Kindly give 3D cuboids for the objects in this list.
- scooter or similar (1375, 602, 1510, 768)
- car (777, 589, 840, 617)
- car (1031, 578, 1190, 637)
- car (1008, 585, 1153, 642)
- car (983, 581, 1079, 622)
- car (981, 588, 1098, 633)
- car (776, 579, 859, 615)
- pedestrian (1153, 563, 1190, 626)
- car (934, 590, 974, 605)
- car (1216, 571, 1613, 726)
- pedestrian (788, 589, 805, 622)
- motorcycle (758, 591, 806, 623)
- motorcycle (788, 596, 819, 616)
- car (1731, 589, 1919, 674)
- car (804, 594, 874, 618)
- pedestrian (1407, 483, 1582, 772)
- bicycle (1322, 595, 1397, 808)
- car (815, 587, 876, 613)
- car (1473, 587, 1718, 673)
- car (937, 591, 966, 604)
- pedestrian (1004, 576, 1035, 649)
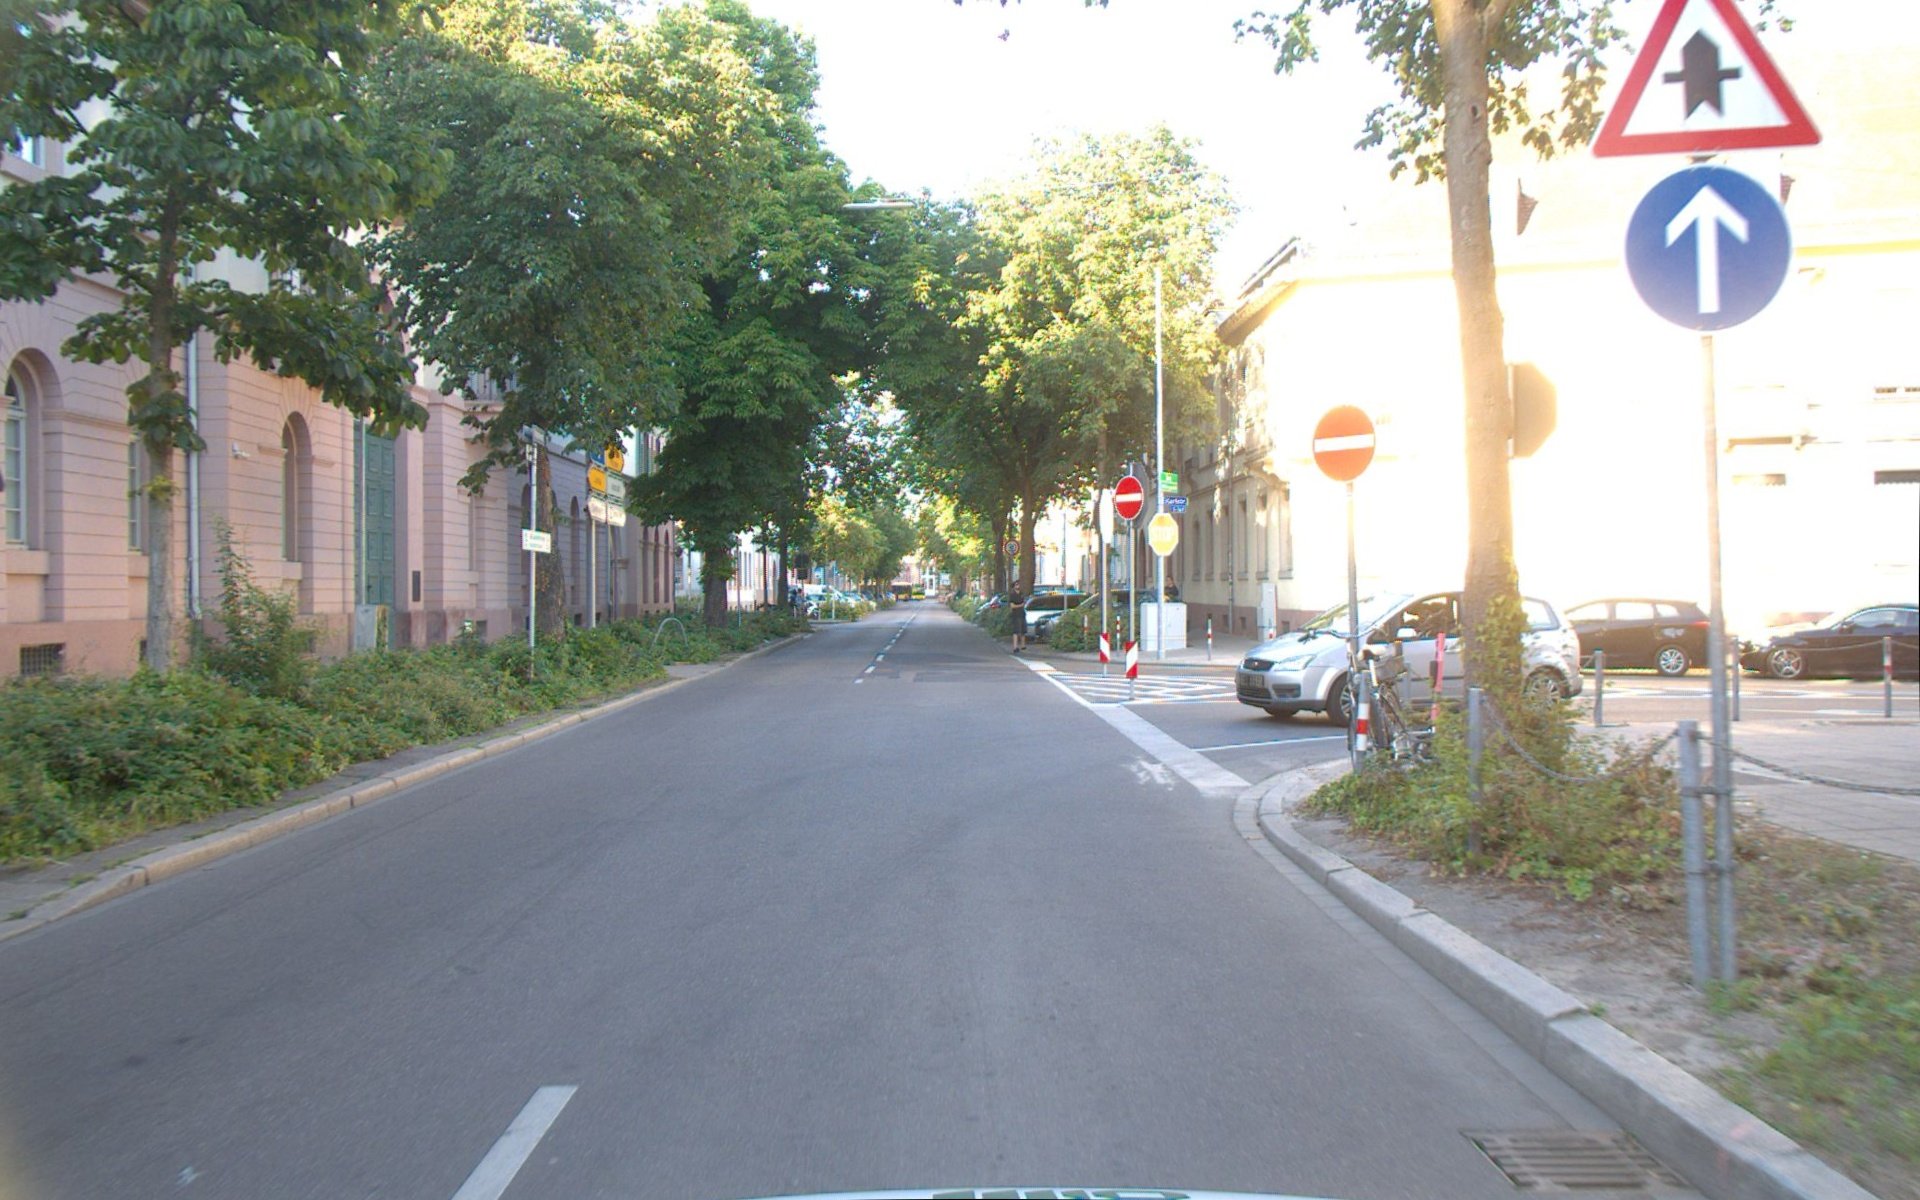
[{"bbox_3d":[3.900,0.654,13.329,1.265,1.265,0.498,-1,0,-45],"label":"scooter or similar"},{"bbox_3d":[-8.905,0.170,97.262,3.653,1.534,1.871,-1,0,-5],"label":"car"},{"bbox_3d":[3.958,0.181,44.046,4.025,1.516,1.849,0,1,-2],"label":"car"},{"bbox_3d":[3.541,0.372,49.006,4.107,1.506,1.852,-2,0,-1],"label":"car"},{"bbox_3d":[2.998,0.062,70.115,3.934,1.651,1.780,-1,0,-2],"label":"car"},{"bbox_3d":[2.750,0.350,57.680,3.934,1.506,1.780,-1,0,-2],"label":"car"},{"bbox_3d":[-8.840,-0.199,102.657,4.962,2.119,2.262,-1,0,-2],"label":"car"},{"bbox_3d":[5.861,-0.162,45.844,0.924,1.736,0.782,-1,1,0],"label":"pedestrian"},{"bbox_3d":[-0.621,-0.257,167.753,3.907,1.467,1.696,-1,0,-3],"label":"car"},{"bbox_3d":[5.386,0.516,19.669,4.273,1.683,1.875,0,0,-20],"label":"car"},{"bbox_3d":[-7.116,0.248,71.970,0.641,1.419,0.607,1,-1,-1],"label":"pedestrian"},{"bbox_3d":[-7.257,0.288,67.497,1.880,1.280,0.590,-1,0,-2],"label":"motorcycle"},{"bbox_3d":[-8.327,0.310,88.080,1.603,1.087,0.656,0,0,-1],"label":"motorcycle"},{"bbox_3d":[16.640,0.557,30.368,4.411,1.393,1.776,0,3,23],"label":"car"},{"bbox_3d":[-8.948,0.458,122.724,4.959,1.645,2.264,-1,0,2],"label":"car"},{"bbox_3d":[4.203,0.209,13.095,1.022,2.184,1.063,1,-1,-1],"label":"pedestrian"},{"bbox_3d":[2.779,0.671,11.577,0.407,1.396,1.289,-1,0,10],"label":"bicycle"},{"bbox_3d":[-9.583,-0.026,138.966,4.960,2.119,2.263,-1,0,0],"label":"car"},{"bbox_3d":[12.334,0.549,32.103,4.322,1.569,1.866,0,0,25],"label":"car"},{"bbox_3d":[-1.134,-0.372,234.951,3.902,1.870,2.001,0,0,6],"label":"car"},{"bbox_3d":[1.560,0.334,43.448,0.777,1.901,0.752,0,0,4],"label":"pedestrian"}]
